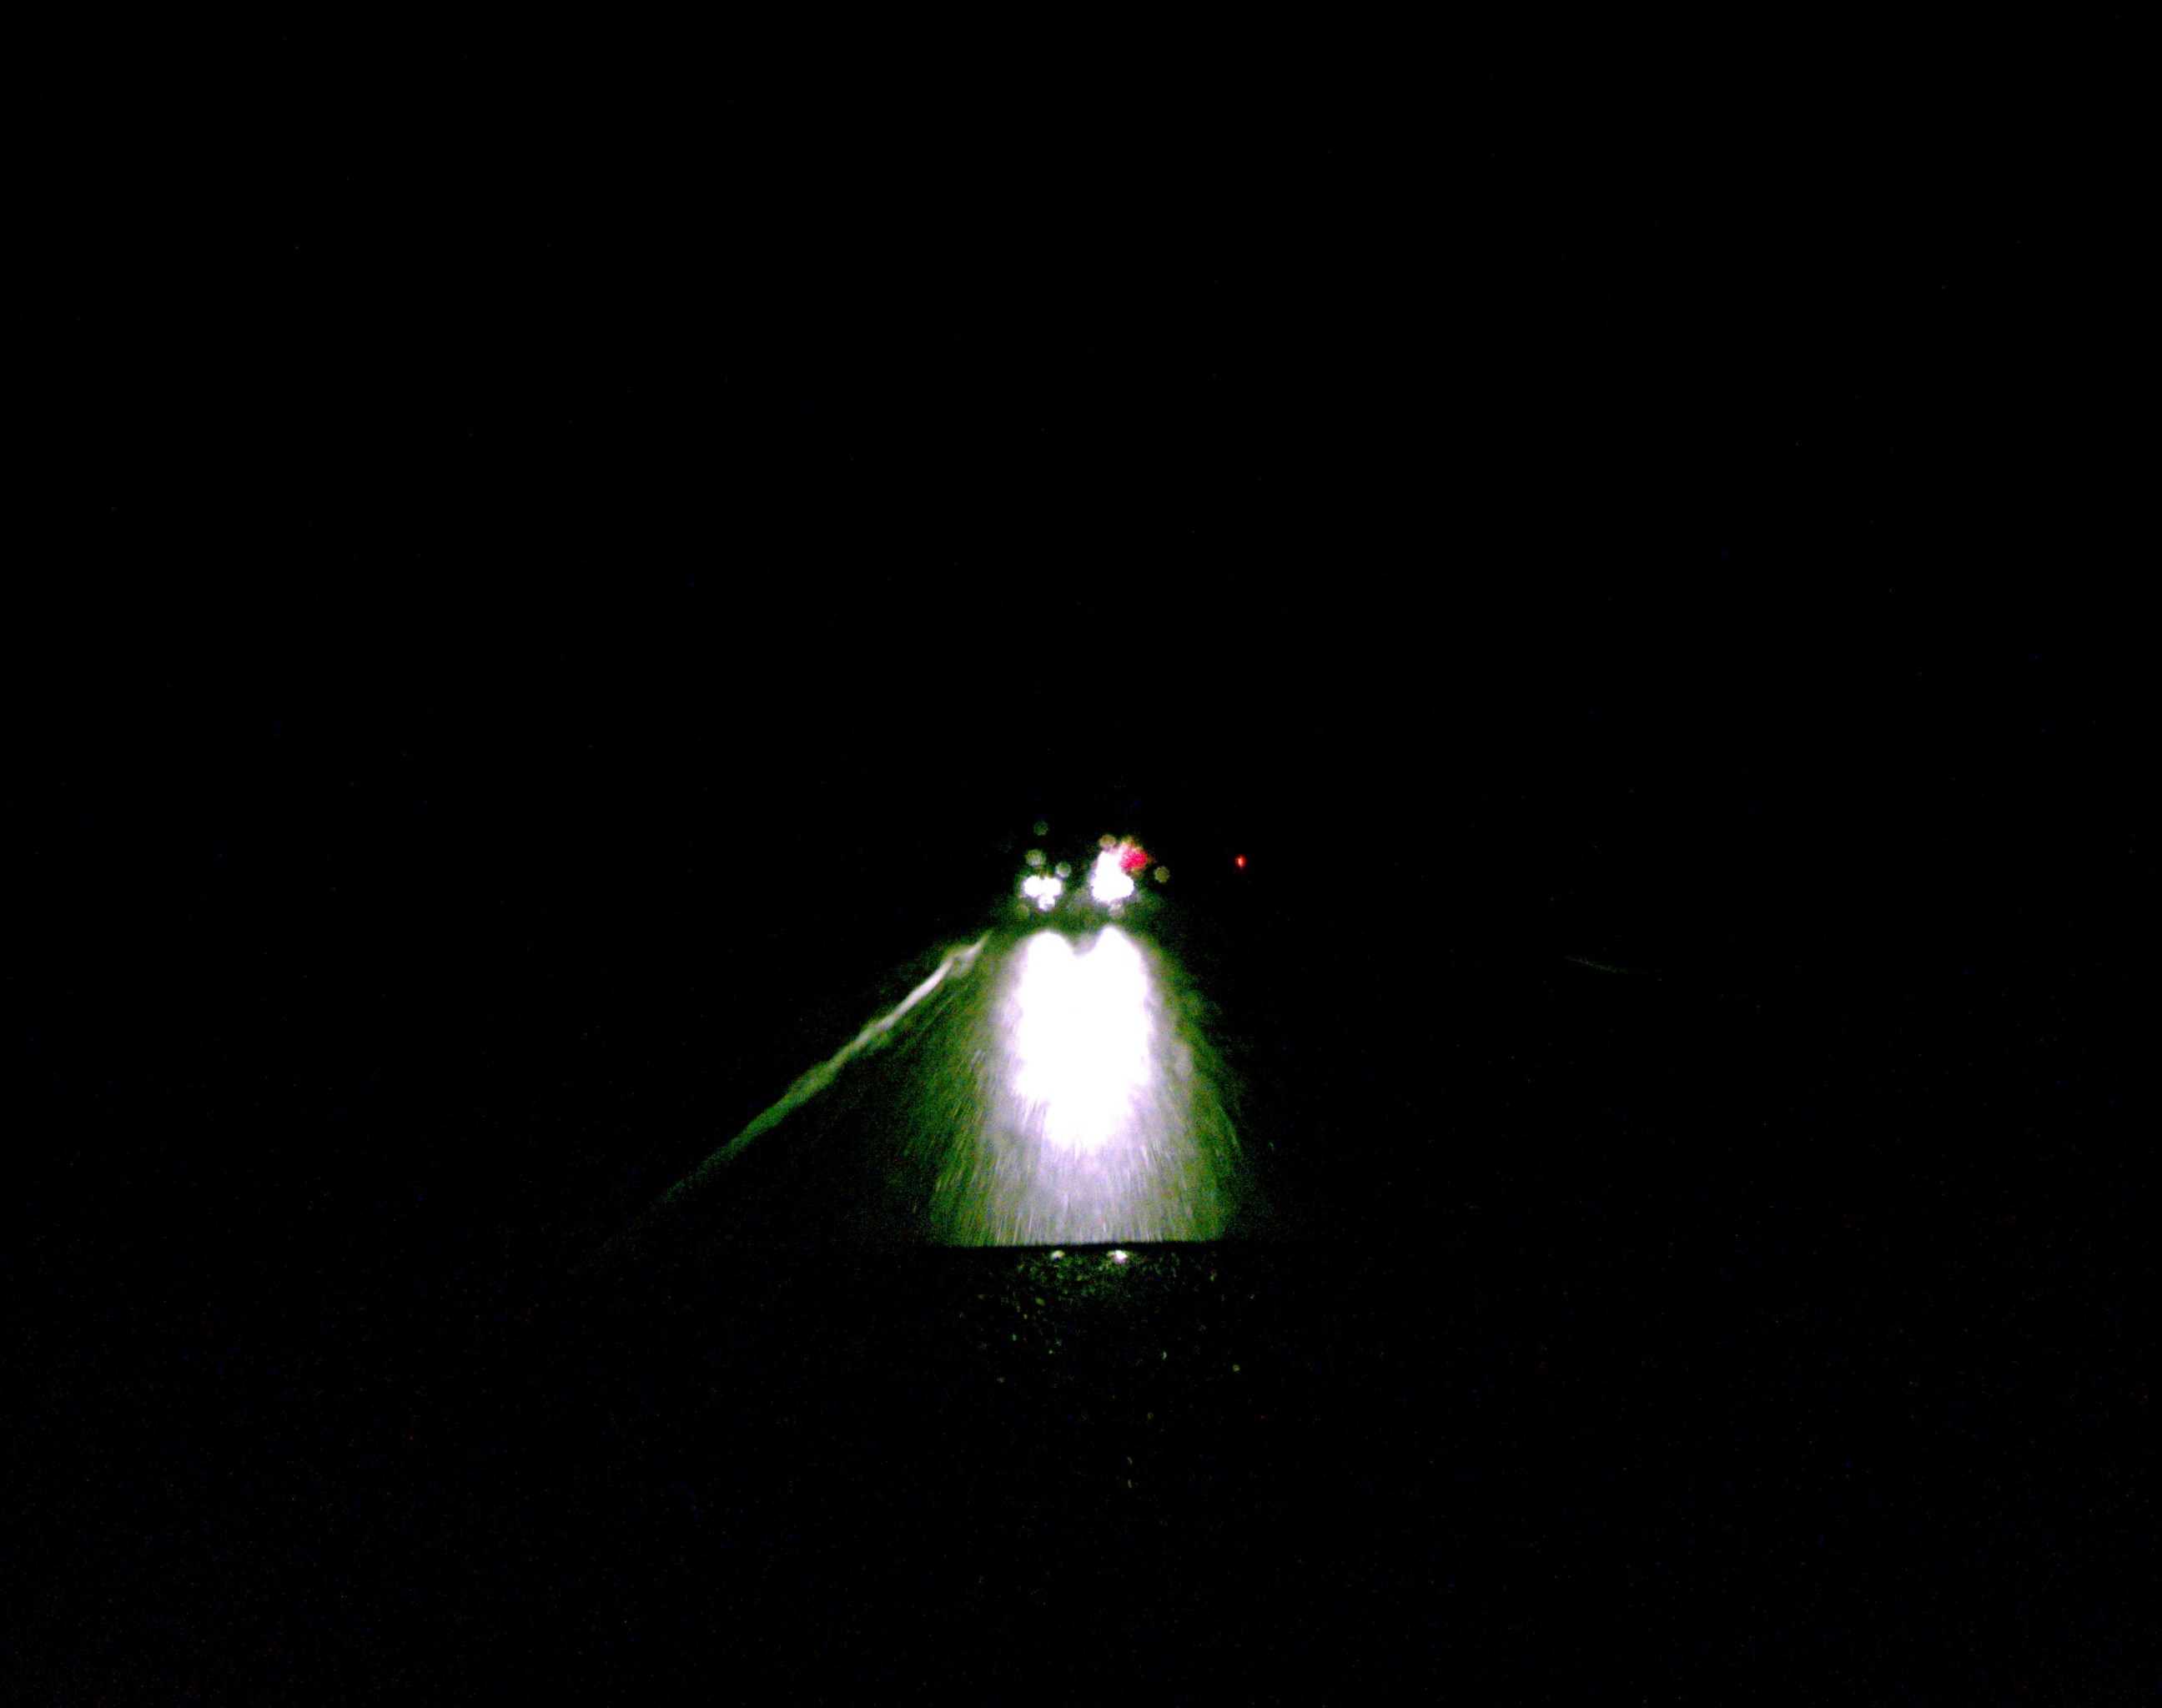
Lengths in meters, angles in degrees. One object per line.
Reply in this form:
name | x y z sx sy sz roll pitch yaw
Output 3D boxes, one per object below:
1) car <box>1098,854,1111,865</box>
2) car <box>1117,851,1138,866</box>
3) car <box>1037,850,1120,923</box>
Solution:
car | 3.492 0.769 112.002 1.845 1.565 4.000 -2 1 3
car | 4.952 0.488 81.648 1.908 1.461 4.274 -3 0 0
car | 0.045 0.741 19.408 1.845 1.565 4.000 -2 1 3
